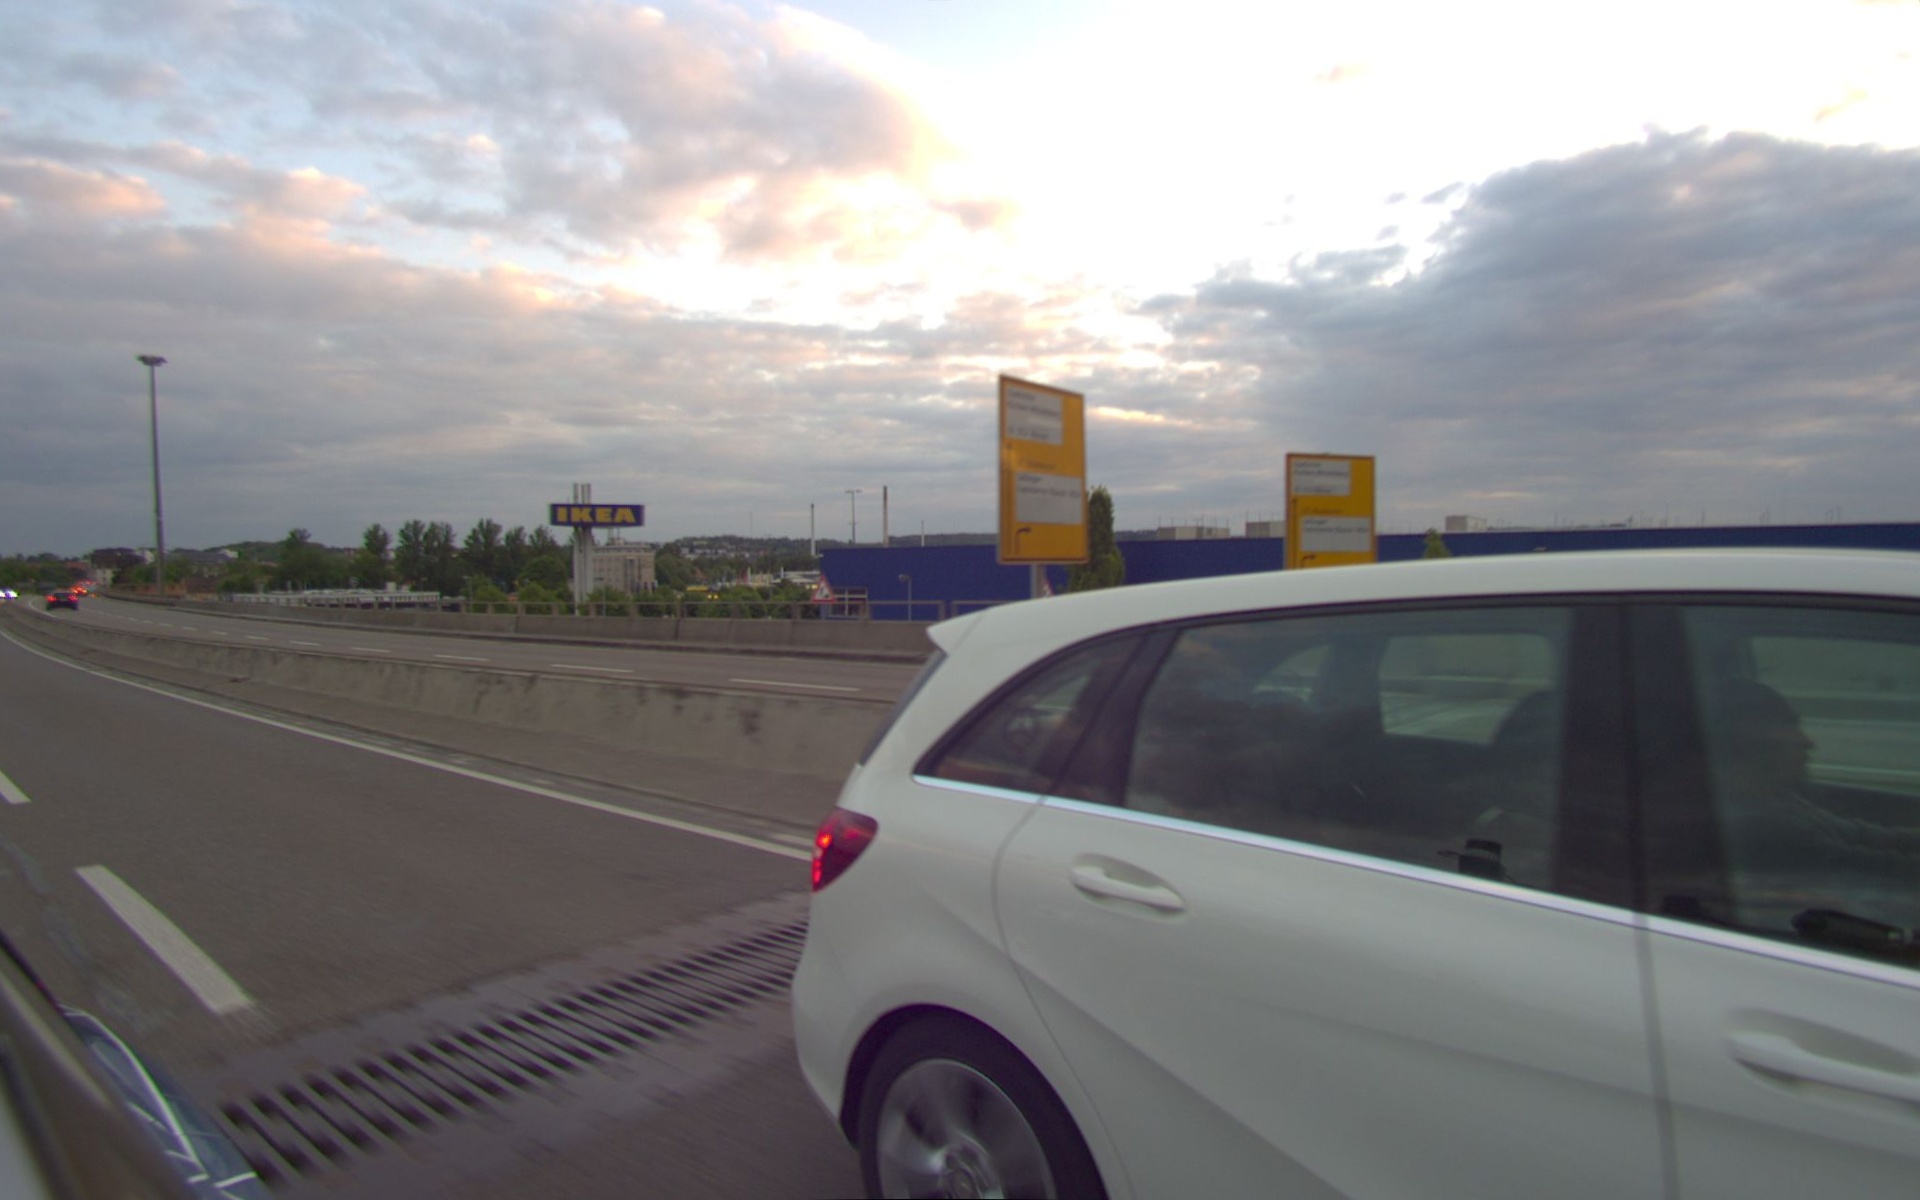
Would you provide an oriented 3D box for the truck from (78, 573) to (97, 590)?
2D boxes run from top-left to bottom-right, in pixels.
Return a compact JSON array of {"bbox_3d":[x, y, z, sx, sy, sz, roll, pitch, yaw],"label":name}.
[{"bbox_3d":[-171.775,-3.599,199.217,2.502,3.321,7.461,-1,1,-39],"label":"truck"}]

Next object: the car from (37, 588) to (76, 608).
[{"bbox_3d":[-66.982,-0.171,75.027,4.288,1.491,1.809,1,1,44],"label":"car"}]

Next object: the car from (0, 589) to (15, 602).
[{"bbox_3d":[-148.787,-0.719,157.741,1.969,2.029,4.005,-2,1,-41],"label":"car"}]

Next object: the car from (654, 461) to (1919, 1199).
[{"bbox_3d":[1.620,0.628,1.575,4.779,1.548,1.674,-1,-1,40],"label":"car"}]
